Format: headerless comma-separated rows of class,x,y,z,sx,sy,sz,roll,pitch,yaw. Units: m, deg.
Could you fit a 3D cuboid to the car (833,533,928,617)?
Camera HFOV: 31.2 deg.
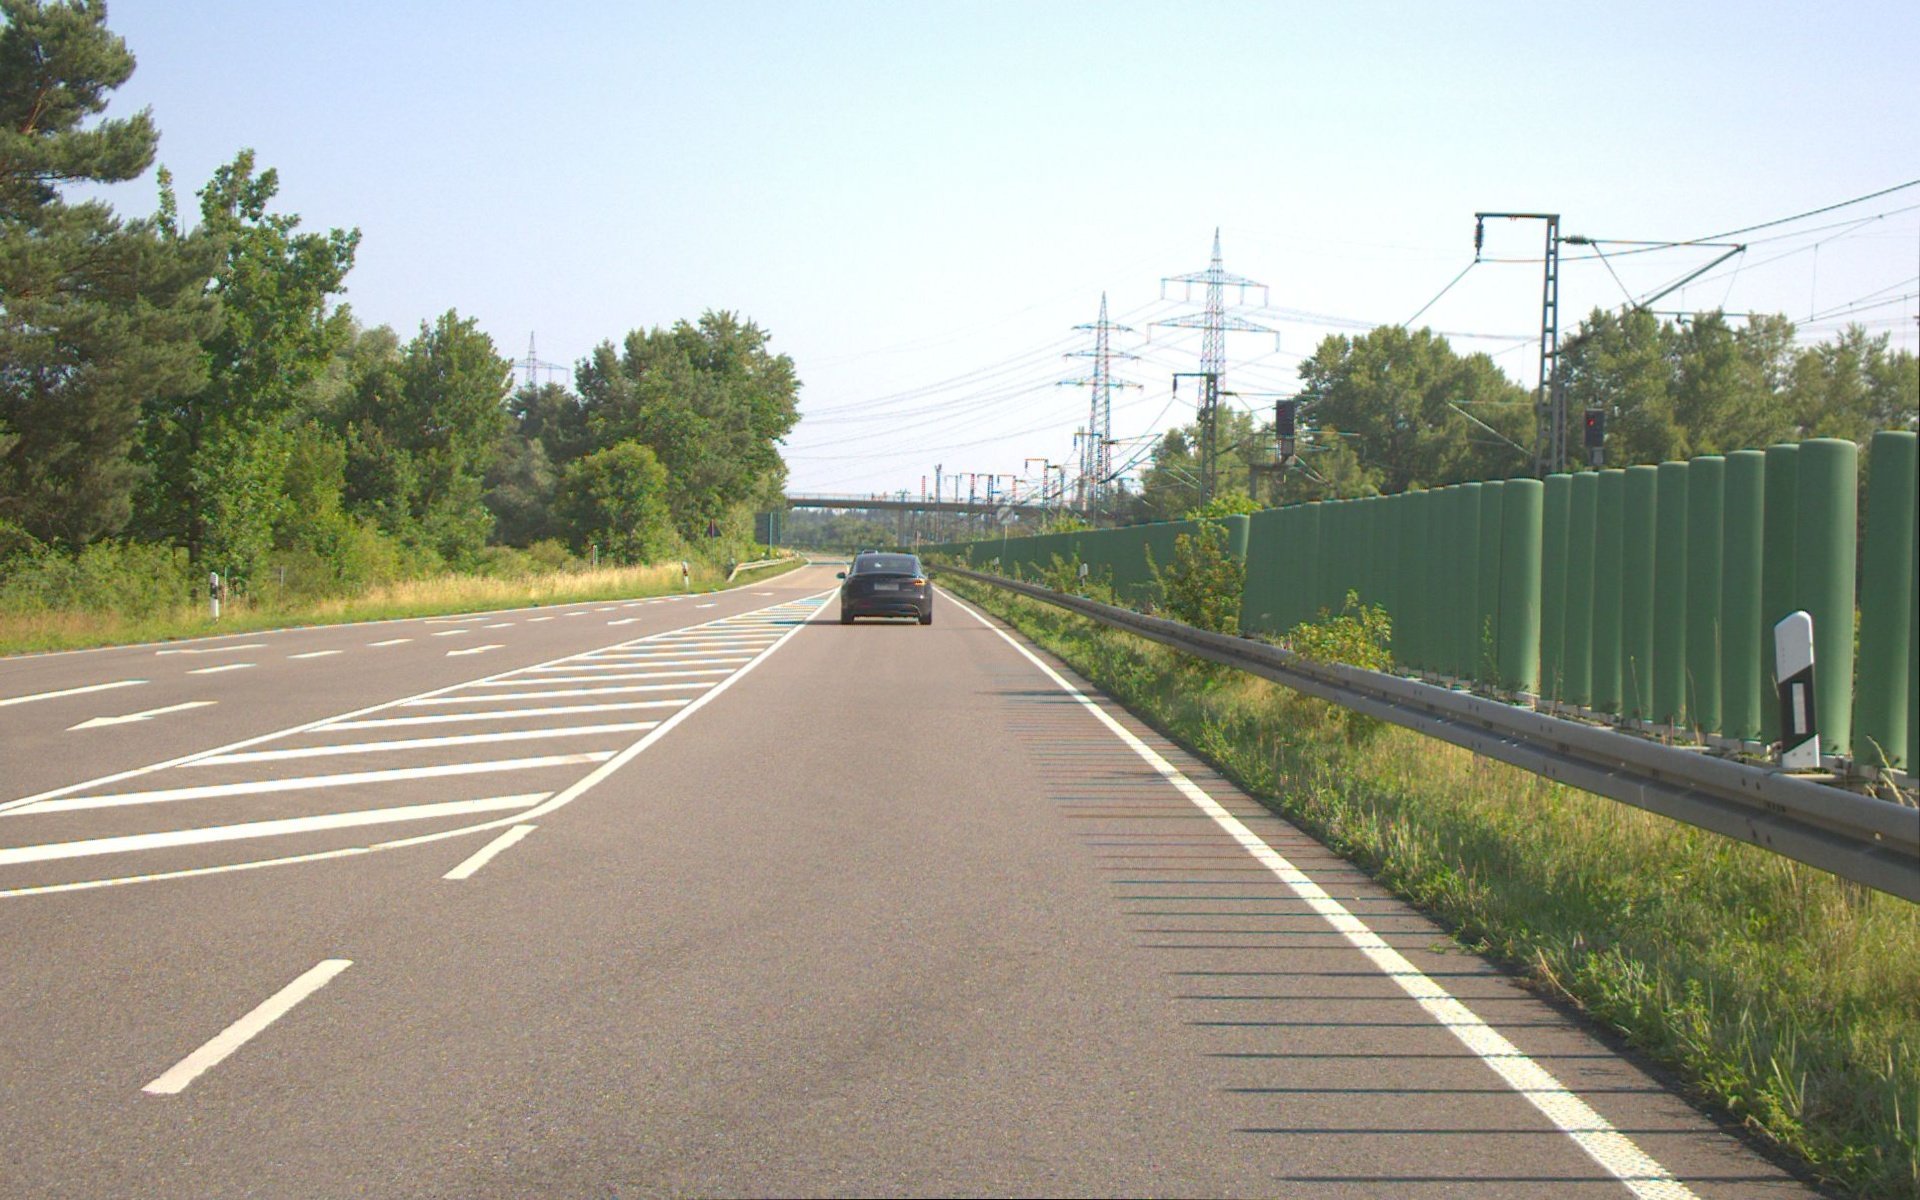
car,-1.593,-0.524,69.931,1.858,1.636,4.000,0,1,0
